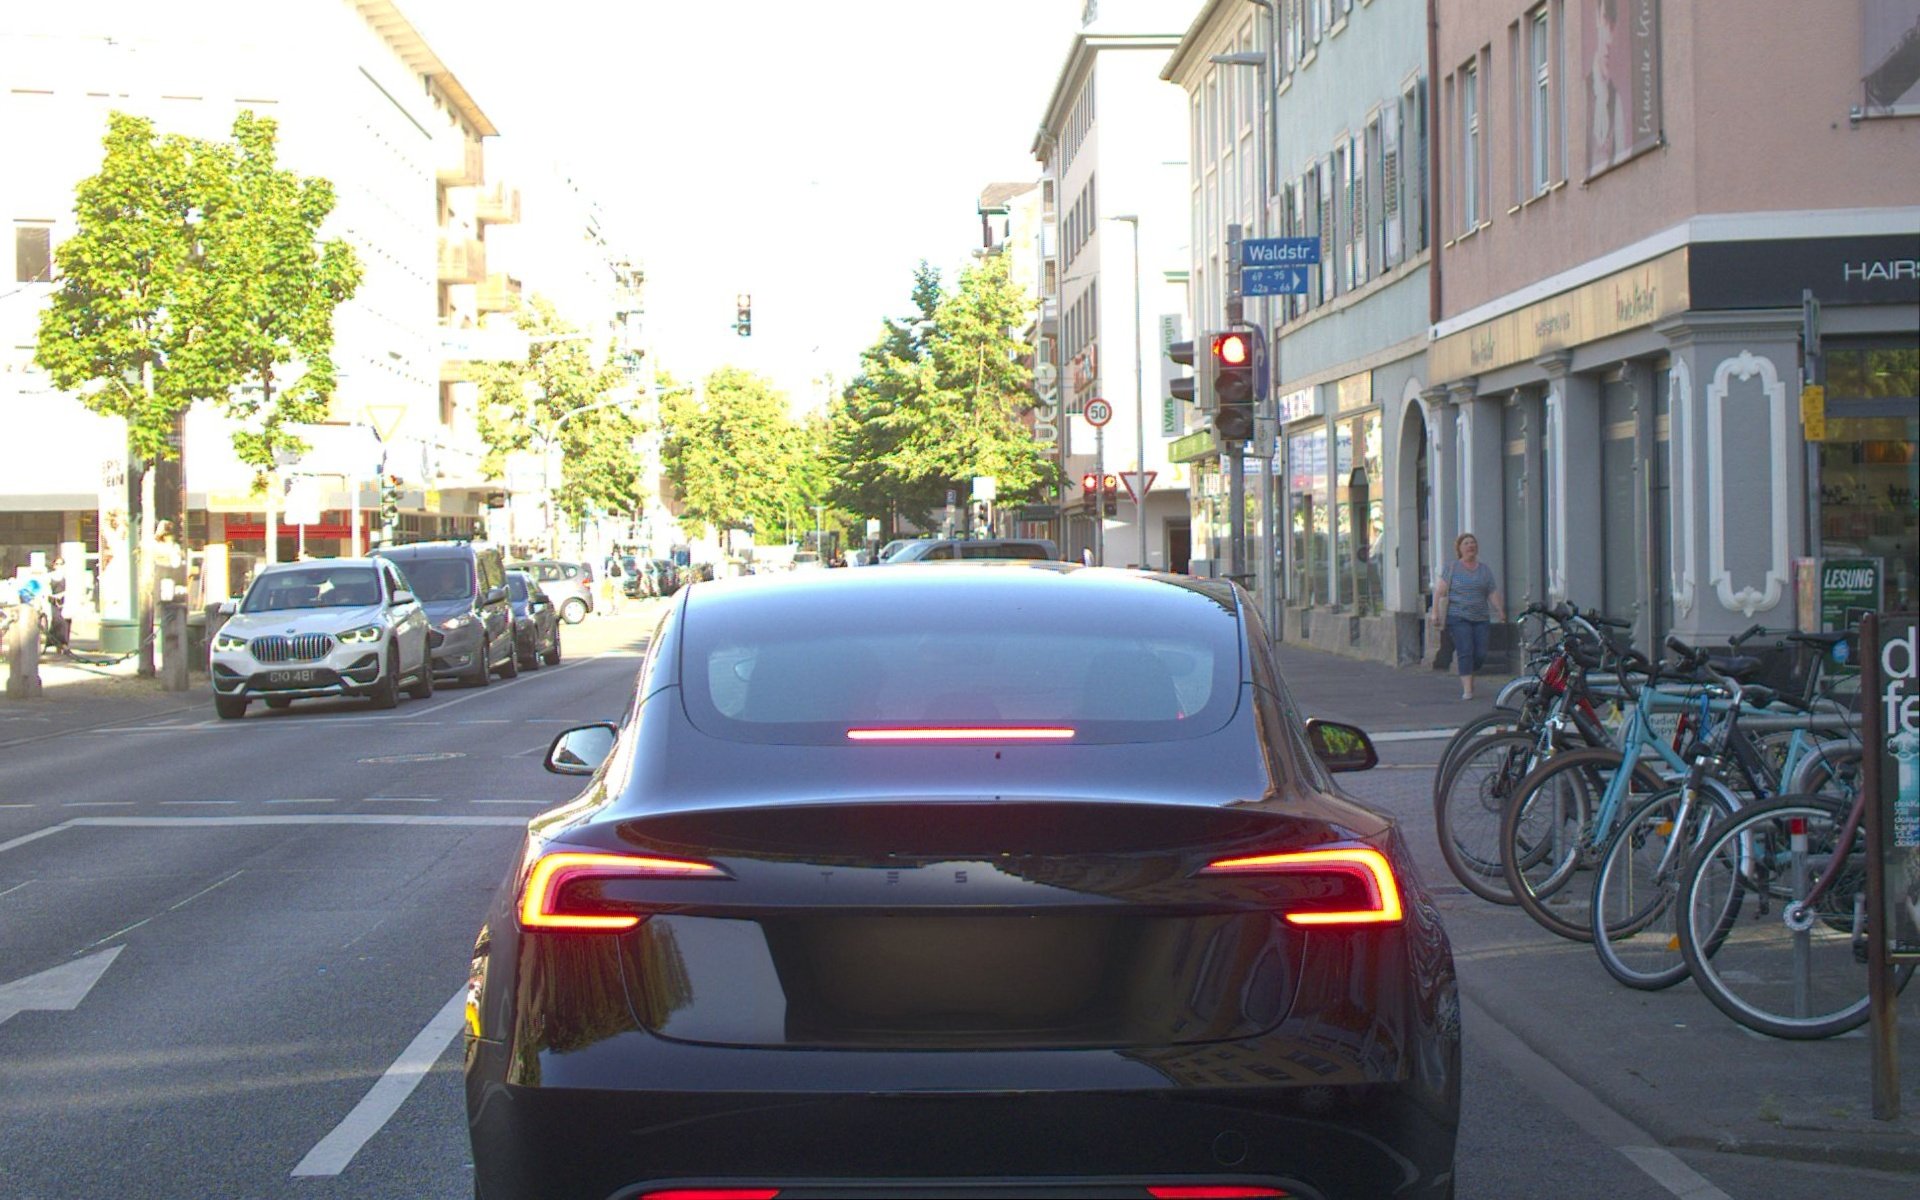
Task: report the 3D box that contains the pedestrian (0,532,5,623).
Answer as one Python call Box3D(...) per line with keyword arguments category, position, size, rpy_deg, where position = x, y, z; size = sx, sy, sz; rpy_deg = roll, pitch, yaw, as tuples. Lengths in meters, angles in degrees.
Box3D(category="pedestrian", position=(-21.722, -0.513, 76.205), size=(0.922, 2.007, 0.859), rpy_deg=(1, 0, -26))

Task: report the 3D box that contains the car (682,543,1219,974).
Box3D(category="car", position=(-0.059, 0.530, 14.199), size=(1.850, 1.476, 4.452), rpy_deg=(1, 1, -1))

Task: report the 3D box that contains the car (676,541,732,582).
Box3D(category="car", position=(-12.387, -1.860, 166.453), size=(2.414, 1.963, 4.678), rpy_deg=(0, 1, -1))

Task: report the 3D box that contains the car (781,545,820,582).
Box3D(category="car", position=(-7.912, -1.824, 170.819), size=(1.892, 1.807, 3.925), rpy_deg=(1, 1, -2))

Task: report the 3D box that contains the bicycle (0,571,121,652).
Box3D(category="bicycle", position=(-14.692, 0.171, 54.567), size=(2.542, 1.247, 0.943), rpy_deg=(1, 0, -3))

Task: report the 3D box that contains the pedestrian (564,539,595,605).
Box3D(category="pedestrian", position=(-10.770, -0.791, 97.254), size=(0.732, 1.861, 0.791), rpy_deg=(1, 0, -17))

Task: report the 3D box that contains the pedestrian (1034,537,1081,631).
Box3D(category="pedestrian", position=(1.947, -0.320, 68.498), size=(0.708, 1.870, 0.808), rpy_deg=(1, 0, 20))

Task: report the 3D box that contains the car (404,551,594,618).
Box3D(category="car", position=(-10.673, -0.381, 79.590), size=(4.119, 1.525, 1.552), rpy_deg=(0, 1, -21))

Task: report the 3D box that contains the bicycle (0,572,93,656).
Box3D(category="bicycle", position=(-14.531, 0.197, 52.142), size=(2.542, 1.247, 0.943), rpy_deg=(1, 0, -3))

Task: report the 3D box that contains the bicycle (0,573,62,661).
Box3D(category="bicycle", position=(-14.486, 0.225, 49.867), size=(2.662, 1.255, 0.943), rpy_deg=(1, 0, -3))

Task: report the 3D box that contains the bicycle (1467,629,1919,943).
Box3D(category="bicycle", position=(2.801, 0.662, 12.530), size=(1.813, 1.098, 0.653), rpy_deg=(0, 1, 1))

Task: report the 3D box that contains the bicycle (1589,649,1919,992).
Box3D(category="bicycle", position=(3.001, 0.698, 11.123), size=(1.813, 1.056, 0.653), rpy_deg=(0, 1, 1))

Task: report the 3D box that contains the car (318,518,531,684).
Box3D(category="car", position=(-6.570, -0.028, 42.665), size=(1.945, 1.940, 4.820), rpy_deg=(0, 1, -1))

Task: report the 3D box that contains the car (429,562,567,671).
Box3D(category="car", position=(-6.652, 0.212, 49.798), size=(1.461, 1.425, 3.606), rpy_deg=(-4, 1, -1))

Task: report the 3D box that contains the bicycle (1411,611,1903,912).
Box3D(category="bicycle", position=(2.732, 0.626, 13.603), size=(1.813, 1.148, 0.653), rpy_deg=(0, 1, 1))

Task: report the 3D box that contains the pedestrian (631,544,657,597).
Box3D(category="pedestrian", position=(-11.342, -1.062, 123.456), size=(0.694, 1.861, 0.910), rpy_deg=(1, 0, -20))

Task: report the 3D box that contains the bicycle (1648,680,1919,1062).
Box3D(category="bicycle", position=(3.027, 0.765, 10.051), size=(1.882, 1.040, 0.653), rpy_deg=(-1, 1, 1))

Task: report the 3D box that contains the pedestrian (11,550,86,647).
Box3D(category="pedestrian", position=(-15.269, -0.031, 57.588), size=(1.092, 1.606, 1.267), rpy_deg=(1, 0, -20))

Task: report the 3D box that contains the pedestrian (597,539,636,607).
Box3D(category="pedestrian", position=(-9.534, -0.756, 95.521), size=(0.734, 1.861, 0.789), rpy_deg=(1, 0, 28))

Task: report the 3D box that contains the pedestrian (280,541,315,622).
Box3D(category="pedestrian", position=(-12.540, -0.354, 65.076), size=(0.624, 1.518, 0.579), rpy_deg=(1, 0, -13))

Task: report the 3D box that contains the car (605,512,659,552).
Box3D(category="car", position=(-17.117, -3.526, 179.644), size=(2.275, 2.007, 4.717), rpy_deg=(1, 1, 1))

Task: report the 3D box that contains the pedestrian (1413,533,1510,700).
Box3D(category="pedestrian", position=(4.727, 0.151, 32.418), size=(0.789, 1.544, 0.724), rpy_deg=(1, 0, 0))

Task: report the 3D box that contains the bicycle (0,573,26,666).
Box3D(category="bicycle", position=(-14.484, 0.243, 47.548), size=(2.875, 1.266, 0.943), rpy_deg=(1, 0, -3))

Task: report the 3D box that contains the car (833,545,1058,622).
Box3D(category="car", position=(-0.353, -0.423, 84.671), size=(5.195, 1.860, 1.884), rpy_deg=(0, 1, -22))

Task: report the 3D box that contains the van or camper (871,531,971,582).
Box3D(category="van or camper", position=(-1.893, -2.124, 167.550), size=(4.850, 2.430, 1.851), rpy_deg=(0, 1, -1))

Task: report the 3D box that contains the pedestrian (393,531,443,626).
Box3D(category="pedestrian", position=(-10.090, -0.400, 64.023), size=(0.844, 1.754, 0.707), rpy_deg=(1, 0, -14))

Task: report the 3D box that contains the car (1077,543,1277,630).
Box3D(category="car", position=(4.712, -0.316, 74.676), size=(3.992, 1.861, 1.698), rpy_deg=(0, 1, -21))

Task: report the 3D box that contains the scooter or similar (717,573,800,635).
Box3D(category="scooter or similar", position=(-3.788, 0.073, 64.555), size=(1.333, 1.131, 0.810), rpy_deg=(1, 0, -24))

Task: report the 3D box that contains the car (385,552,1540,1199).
Box3D(category="car", position=(-0.023, 0.634, 7.775), size=(1.850, 1.442, 4.452), rpy_deg=(1, 1, -1))

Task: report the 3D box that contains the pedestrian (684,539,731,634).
Box3D(category="pedestrian", position=(-4.709, -0.260, 64.105), size=(0.658, 1.754, 0.654), rpy_deg=(1, 0, -24))

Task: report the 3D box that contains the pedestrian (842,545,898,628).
Box3D(category="pedestrian", position=(-1.745, -0.271, 66.931), size=(0.806, 1.604, 0.709), rpy_deg=(0, 1, -37))

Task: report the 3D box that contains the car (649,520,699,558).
Box3D(category="car", position=(-15.640, -3.346, 188.283), size=(2.275, 2.007, 4.717), rpy_deg=(1, 1, 1))

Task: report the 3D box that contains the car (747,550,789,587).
Box3D(category="car", position=(-10.434, -1.731, 187.136), size=(2.132, 1.963, 4.134), rpy_deg=(0, 1, -1))

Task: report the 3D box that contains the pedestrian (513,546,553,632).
Box3D(category="pedestrian", position=(-8.039, -0.207, 64.692), size=(0.704, 1.604, 0.608), rpy_deg=(1, 0, -9))

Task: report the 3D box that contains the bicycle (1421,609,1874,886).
Box3D(category="bicycle", position=(2.924, 0.618, 14.738), size=(1.813, 1.148, 0.653), rpy_deg=(0, 1, 1))

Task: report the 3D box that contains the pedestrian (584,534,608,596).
Box3D(category="pedestrian", position=(-10.991, -1.065, 103.880), size=(0.695, 1.861, 0.659), rpy_deg=(1, 0, -5))

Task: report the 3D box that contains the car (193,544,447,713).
Box3D(category="car", position=(-6.685, 0.261, 36.341), size=(1.825, 1.559, 4.301), rpy_deg=(-4, 1, -1))
